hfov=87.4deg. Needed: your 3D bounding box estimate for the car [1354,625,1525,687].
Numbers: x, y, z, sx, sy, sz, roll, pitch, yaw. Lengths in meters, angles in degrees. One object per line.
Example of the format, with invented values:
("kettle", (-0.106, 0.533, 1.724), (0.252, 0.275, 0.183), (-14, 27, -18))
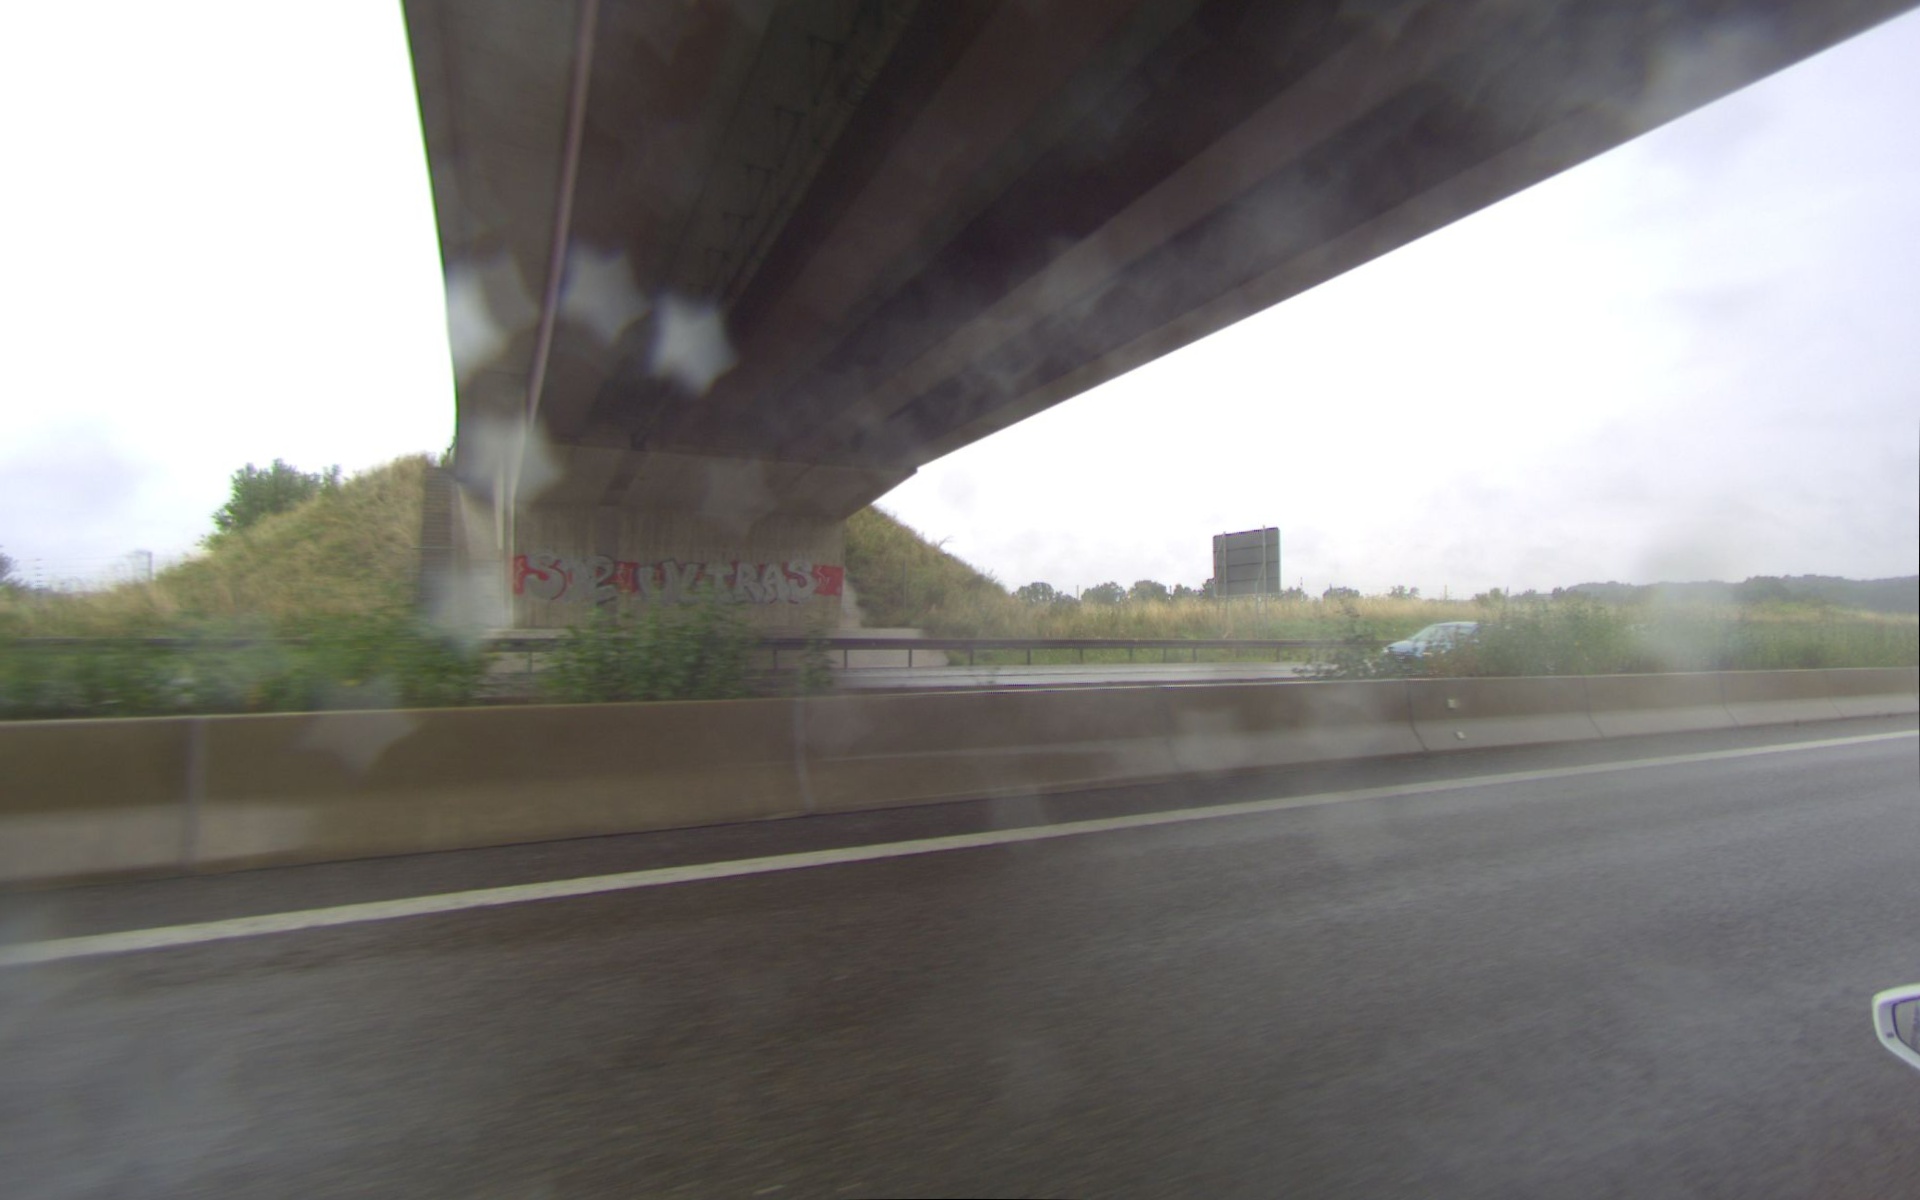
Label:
("car", (11.733, 1.329, 24.551), (3.952, 1.350, 1.870), (1, 0, -30))
